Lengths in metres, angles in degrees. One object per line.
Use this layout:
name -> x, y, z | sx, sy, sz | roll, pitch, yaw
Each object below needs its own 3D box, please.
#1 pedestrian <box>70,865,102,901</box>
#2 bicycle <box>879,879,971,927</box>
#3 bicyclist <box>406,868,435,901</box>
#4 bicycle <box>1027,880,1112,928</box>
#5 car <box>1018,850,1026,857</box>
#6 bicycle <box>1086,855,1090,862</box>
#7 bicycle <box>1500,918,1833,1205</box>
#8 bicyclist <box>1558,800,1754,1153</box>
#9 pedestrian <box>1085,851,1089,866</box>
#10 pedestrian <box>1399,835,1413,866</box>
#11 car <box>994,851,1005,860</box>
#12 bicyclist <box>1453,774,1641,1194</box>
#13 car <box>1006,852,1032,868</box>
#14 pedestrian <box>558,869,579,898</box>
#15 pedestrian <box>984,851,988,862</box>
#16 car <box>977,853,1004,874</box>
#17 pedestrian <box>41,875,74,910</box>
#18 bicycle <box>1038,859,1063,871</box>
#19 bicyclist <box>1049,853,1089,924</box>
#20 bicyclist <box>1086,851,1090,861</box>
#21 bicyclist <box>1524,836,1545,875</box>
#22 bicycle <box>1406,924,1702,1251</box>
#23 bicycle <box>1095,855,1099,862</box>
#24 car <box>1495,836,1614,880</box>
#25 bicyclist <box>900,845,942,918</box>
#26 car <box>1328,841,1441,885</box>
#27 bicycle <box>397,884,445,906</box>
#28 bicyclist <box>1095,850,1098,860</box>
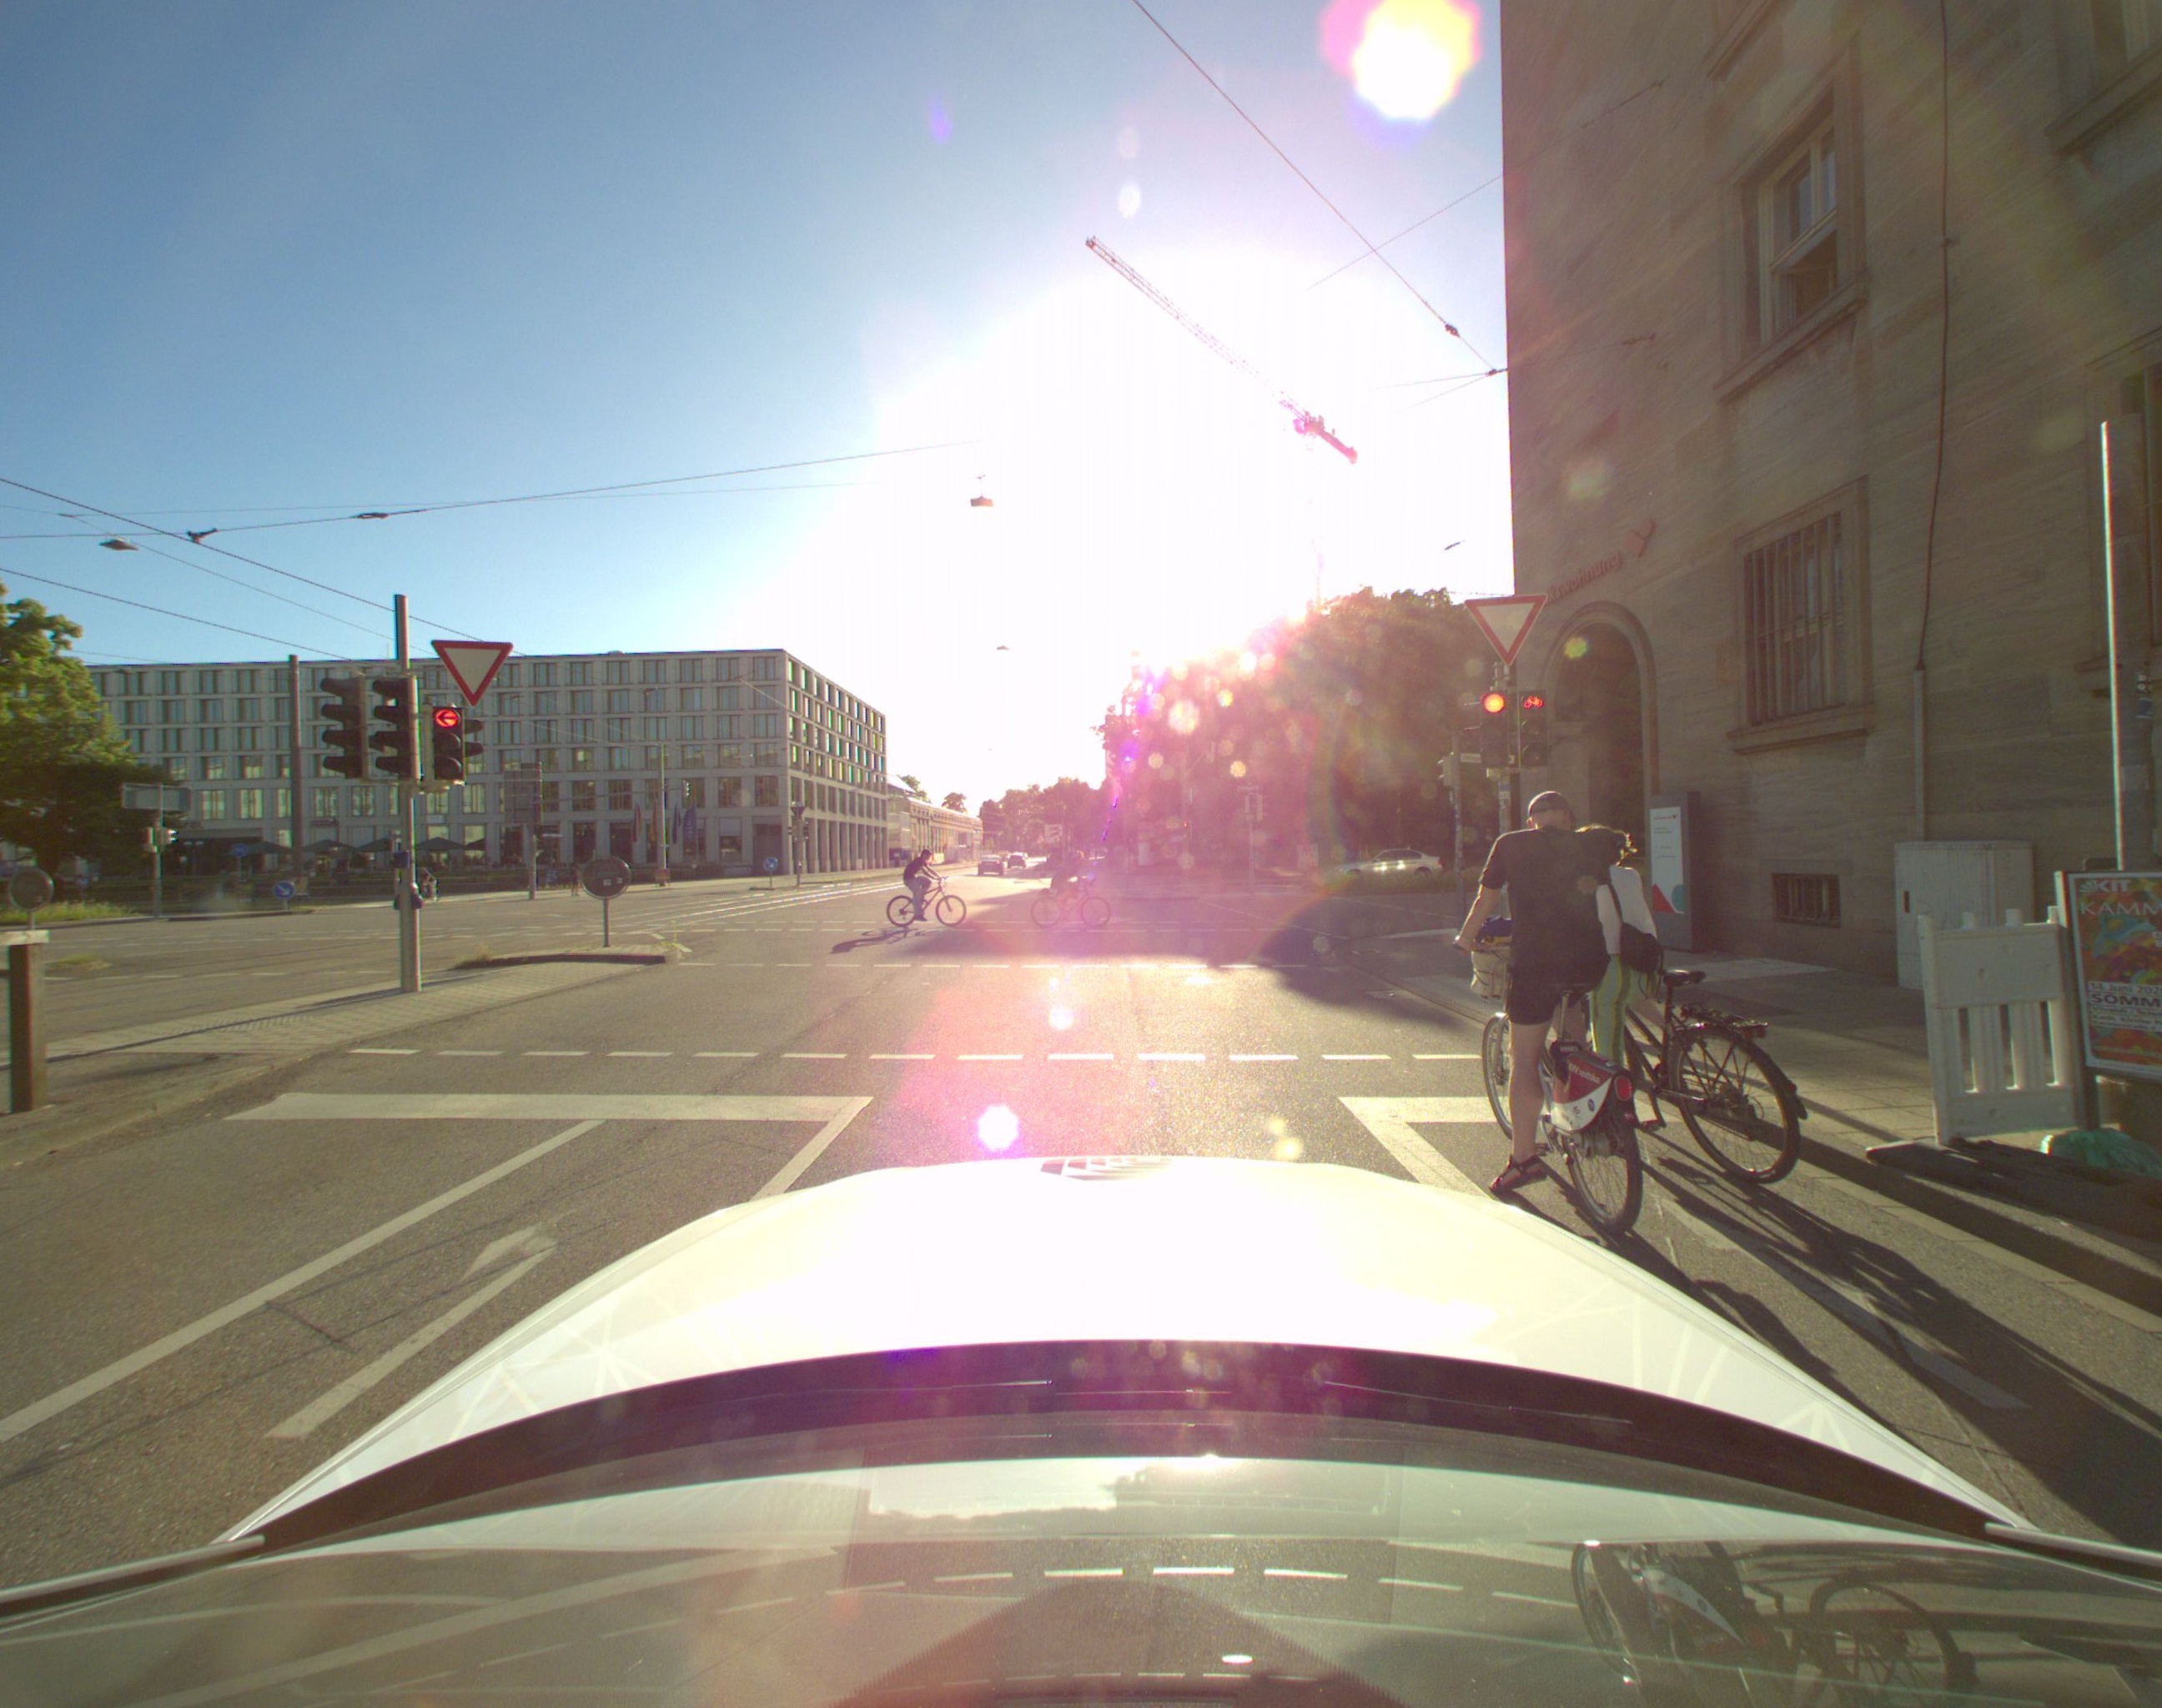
pedestrian -> -55.929, 1.619, 45.764 | 0.837, 2.014, 0.827 | -1, -1, 11
bicycle -> -3.323, 1.049, 17.452 | 1.853, 0.935, 0.559 | -2, 0, -4
bicyclist -> -32.795, 1.497, 40.440 | 0.755, 1.589, 0.779 | -2, 0, 8
bicycle -> -0.246, 1.052, 17.266 | 1.739, 0.935, 0.645 | -2, 0, -3
car -> -14.227, -0.105, 195.323 | 1.688, 1.718, 4.245 | 0, -1, -1
bicycle -> 1.120, 0.736, 129.953 | 0.573, 1.077, 1.831 | -2, 0, 1
bicycle -> 2.949, 0.956, 4.354 | 0.532, 1.077, 1.751 | -1, 0, 1
bicyclist -> 2.960, 0.589, 4.247 | 0.556, 1.691, 0.640 | -1, 0, 0
pedestrian -> 0.732, 0.535, 97.980 | 0.462, 1.813, 0.502 | -2, 0, -3
pedestrian -> 17.487, -0.177, 43.784 | 0.580, 1.663, 0.515 | 0, 1, 4
car -> -15.657, 0.274, 157.073 | 1.688, 1.718, 4.245 | 0, -1, -1
bicyclist -> 2.129, 0.558, 3.780 | 0.556, 1.799, 0.551 | -1, 0, 3
car -> -6.405, 0.609, 84.916 | 1.882, 1.565, 4.815 | 1, 0, 6
pedestrian -> -28.649, 1.624, 45.544 | 0.775, 1.589, 0.588 | -2, 0, -12
pedestrian -> -18.438, 0.506, 158.445 | 0.672, 2.014, 0.751 | 0, -1, -1
car -> -6.763, 0.684, 61.043 | 1.656, 1.455, 4.429 | -1, 0, -2
pedestrian -> -56.232, 2.104, 44.739 | 0.711, 1.900, 0.877 | -1, -1, 11
bicycle -> -2.563, 0.908, 67.705 | 1.996, 0.891, 0.655 | -4, -1, 29
bicyclist -> -0.252, 0.722, 17.259 | 0.796, 1.450, 0.617 | -1, 0, -2
bicyclist -> 1.099, 0.319, 130.057 | 0.567, 1.691, 0.700 | -2, 0, 1
bicyclist -> 20.144, 0.077, 36.171 | 0.640, 1.683, 0.508 | -2, 0, 7
bicycle -> 2.127, 0.955, 3.937 | 0.513, 1.077, 1.729 | -1, 0, 4
bicycle -> 2.511, 0.725, 130.177 | 0.573, 1.077, 1.831 | -2, 0, 1
car -> 19.181, 0.151, 33.113 | 3.835, 1.611, 1.650 | -2, 0, 1
bicyclist -> -3.420, 0.580, 17.468 | 0.761, 1.524, 0.606 | -2, 0, -3
car -> 12.353, 0.351, 33.256 | 3.979, 1.611, 1.650 | -2, 0, 1
bicycle -> -32.766, 2.024, 40.457 | 0.757, 0.935, 1.865 | -2, 0, 3
bicyclist -> 2.487, 0.172, 130.195 | 0.567, 1.691, 0.700 | -2, 0, 1
